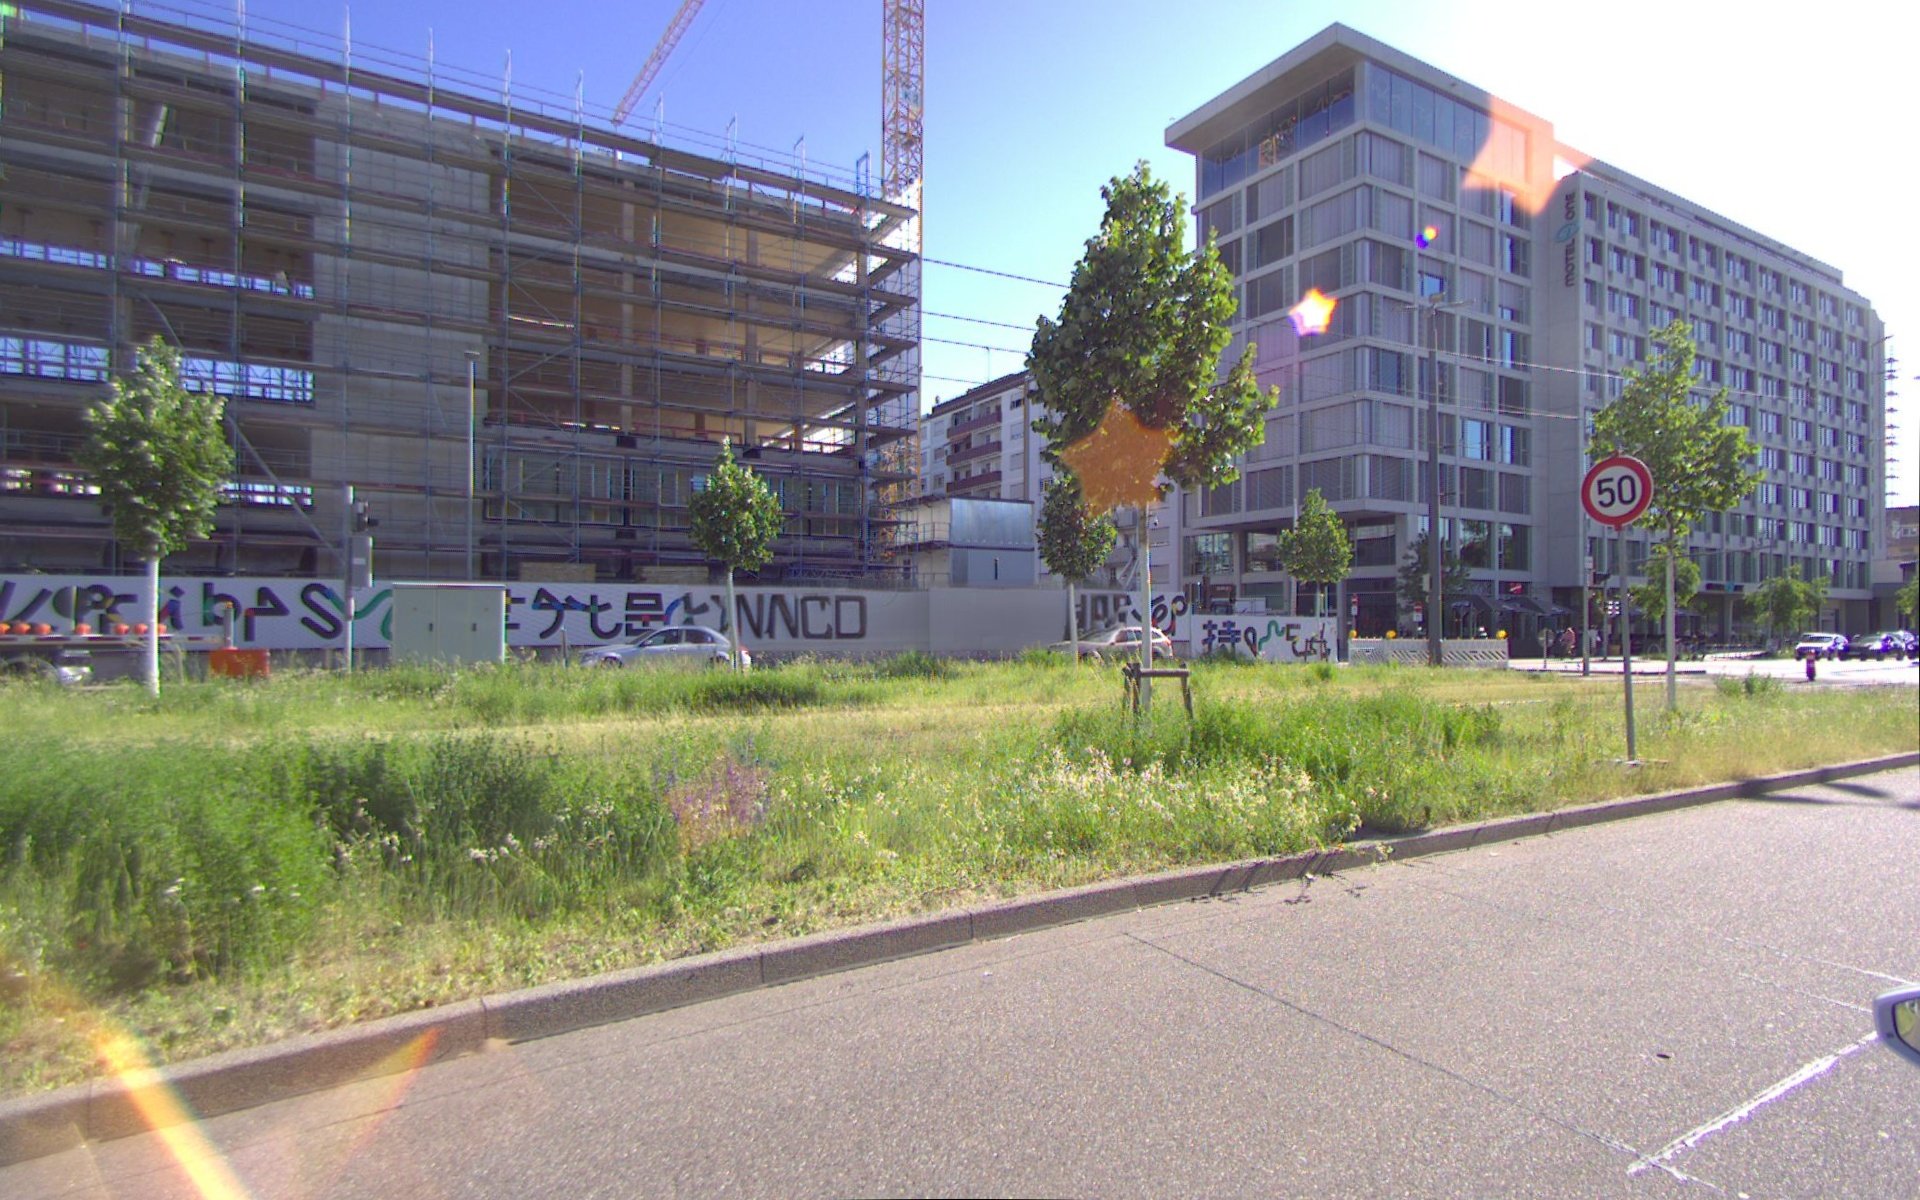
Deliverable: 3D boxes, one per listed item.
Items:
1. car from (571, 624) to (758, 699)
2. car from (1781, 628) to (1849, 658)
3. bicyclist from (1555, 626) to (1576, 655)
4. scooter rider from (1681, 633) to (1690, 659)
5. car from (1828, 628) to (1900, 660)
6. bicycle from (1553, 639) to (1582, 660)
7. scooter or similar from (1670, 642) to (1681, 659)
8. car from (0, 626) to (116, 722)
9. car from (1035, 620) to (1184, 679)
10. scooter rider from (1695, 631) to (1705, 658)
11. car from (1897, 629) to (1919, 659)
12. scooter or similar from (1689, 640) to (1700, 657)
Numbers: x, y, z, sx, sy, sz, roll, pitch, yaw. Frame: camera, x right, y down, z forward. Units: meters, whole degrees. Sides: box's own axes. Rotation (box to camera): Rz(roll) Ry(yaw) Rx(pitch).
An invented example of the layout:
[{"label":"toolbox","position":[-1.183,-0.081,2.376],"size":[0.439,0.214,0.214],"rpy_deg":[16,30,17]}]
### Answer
[{"label":"car","position":[-7.772,1.553,26.460],"size":[4.468,1.816,1.987],"rpy_deg":[1,-1,-27]},{"label":"car","position":[49.116,2.446,57.701],"size":[3.953,1.673,1.782],"rpy_deg":[1,-2,-30]},{"label":"bicyclist","position":[33.669,2.240,55.895],"size":[0.881,1.601,0.591],"rpy_deg":[2,0,-27]},{"label":"scooter rider","position":[41.055,2.597,56.838],"size":[0.236,1.472,0.340],"rpy_deg":[1,-1,-30]},{"label":"car","position":[48.649,2.330,54.075],"size":[3.953,1.673,1.782],"rpy_deg":[1,-2,-30]},{"label":"bicycle","position":[33.762,2.737,55.828],"size":[1.602,1.115,0.584],"rpy_deg":[2,0,-27]},{"label":"scooter or similar","position":[40.579,2.856,56.985],"size":[0.760,0.960,0.283],"rpy_deg":[1,-1,-38]},{"label":"car","position":[-19.489,1.412,19.465],"size":[4.475,1.816,1.984],"rpy_deg":[1,-1,-31]},{"label":"car","position":[4.873,1.562,32.613],"size":[4.466,1.816,1.988],"rpy_deg":[1,-1,-25]},{"label":"scooter rider","position":[41.259,2.468,56.004],"size":[0.236,1.472,0.340],"rpy_deg":[1,-1,-30]},{"label":"car","position":[55.889,2.519,57.839],"size":[3.953,1.673,1.782],"rpy_deg":[1,-2,-30]},{"label":"scooter or similar","position":[41.072,2.716,56.153],"size":[0.758,0.960,0.227],"rpy_deg":[1,-1,-31]}]
